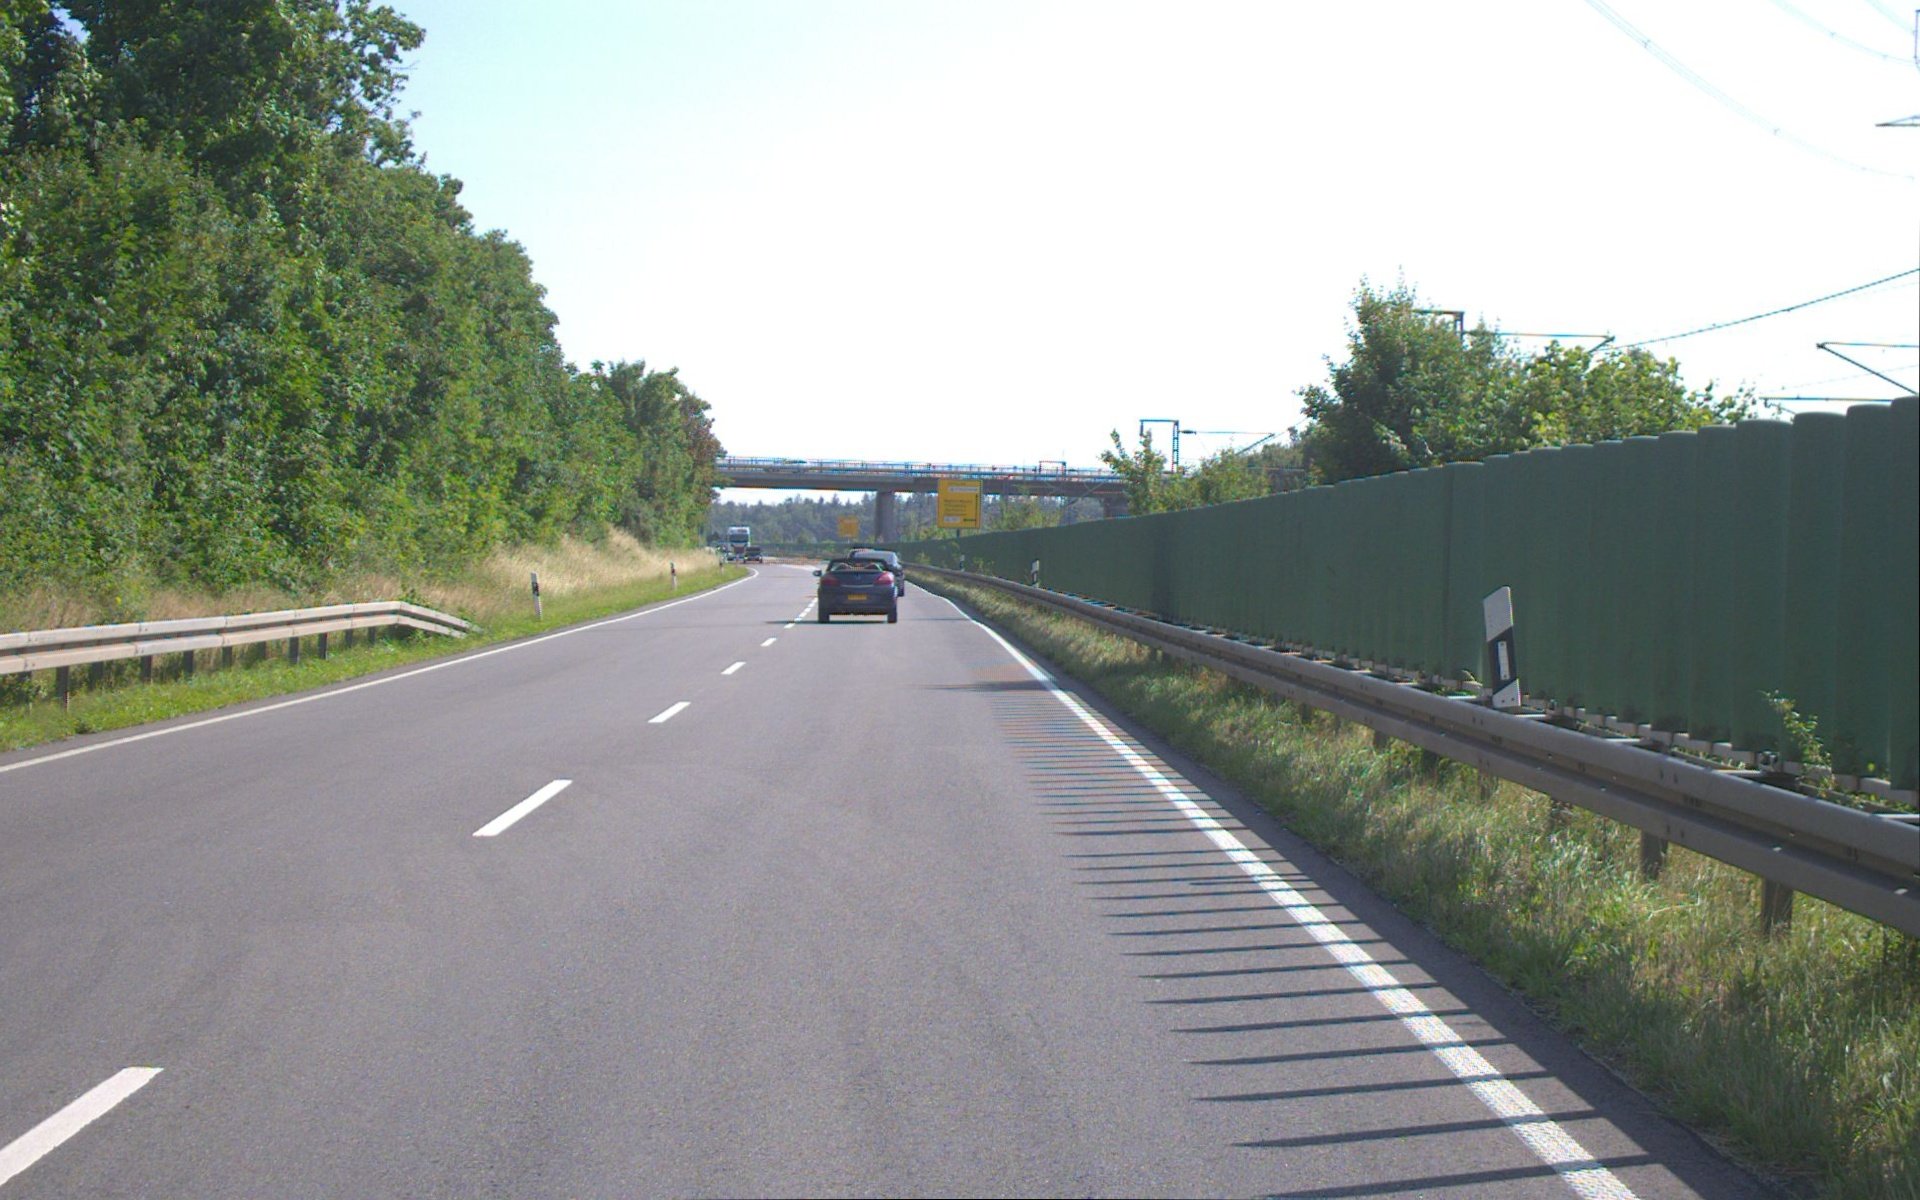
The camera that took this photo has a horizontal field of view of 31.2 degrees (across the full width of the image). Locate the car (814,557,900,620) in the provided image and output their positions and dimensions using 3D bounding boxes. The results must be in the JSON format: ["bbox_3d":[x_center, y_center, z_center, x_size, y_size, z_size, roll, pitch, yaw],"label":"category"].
[{"bbox_3d":[-2.176,-0.250,71.660,1.663,1.257,4.001,1,1,-3],"label":"car"}]
